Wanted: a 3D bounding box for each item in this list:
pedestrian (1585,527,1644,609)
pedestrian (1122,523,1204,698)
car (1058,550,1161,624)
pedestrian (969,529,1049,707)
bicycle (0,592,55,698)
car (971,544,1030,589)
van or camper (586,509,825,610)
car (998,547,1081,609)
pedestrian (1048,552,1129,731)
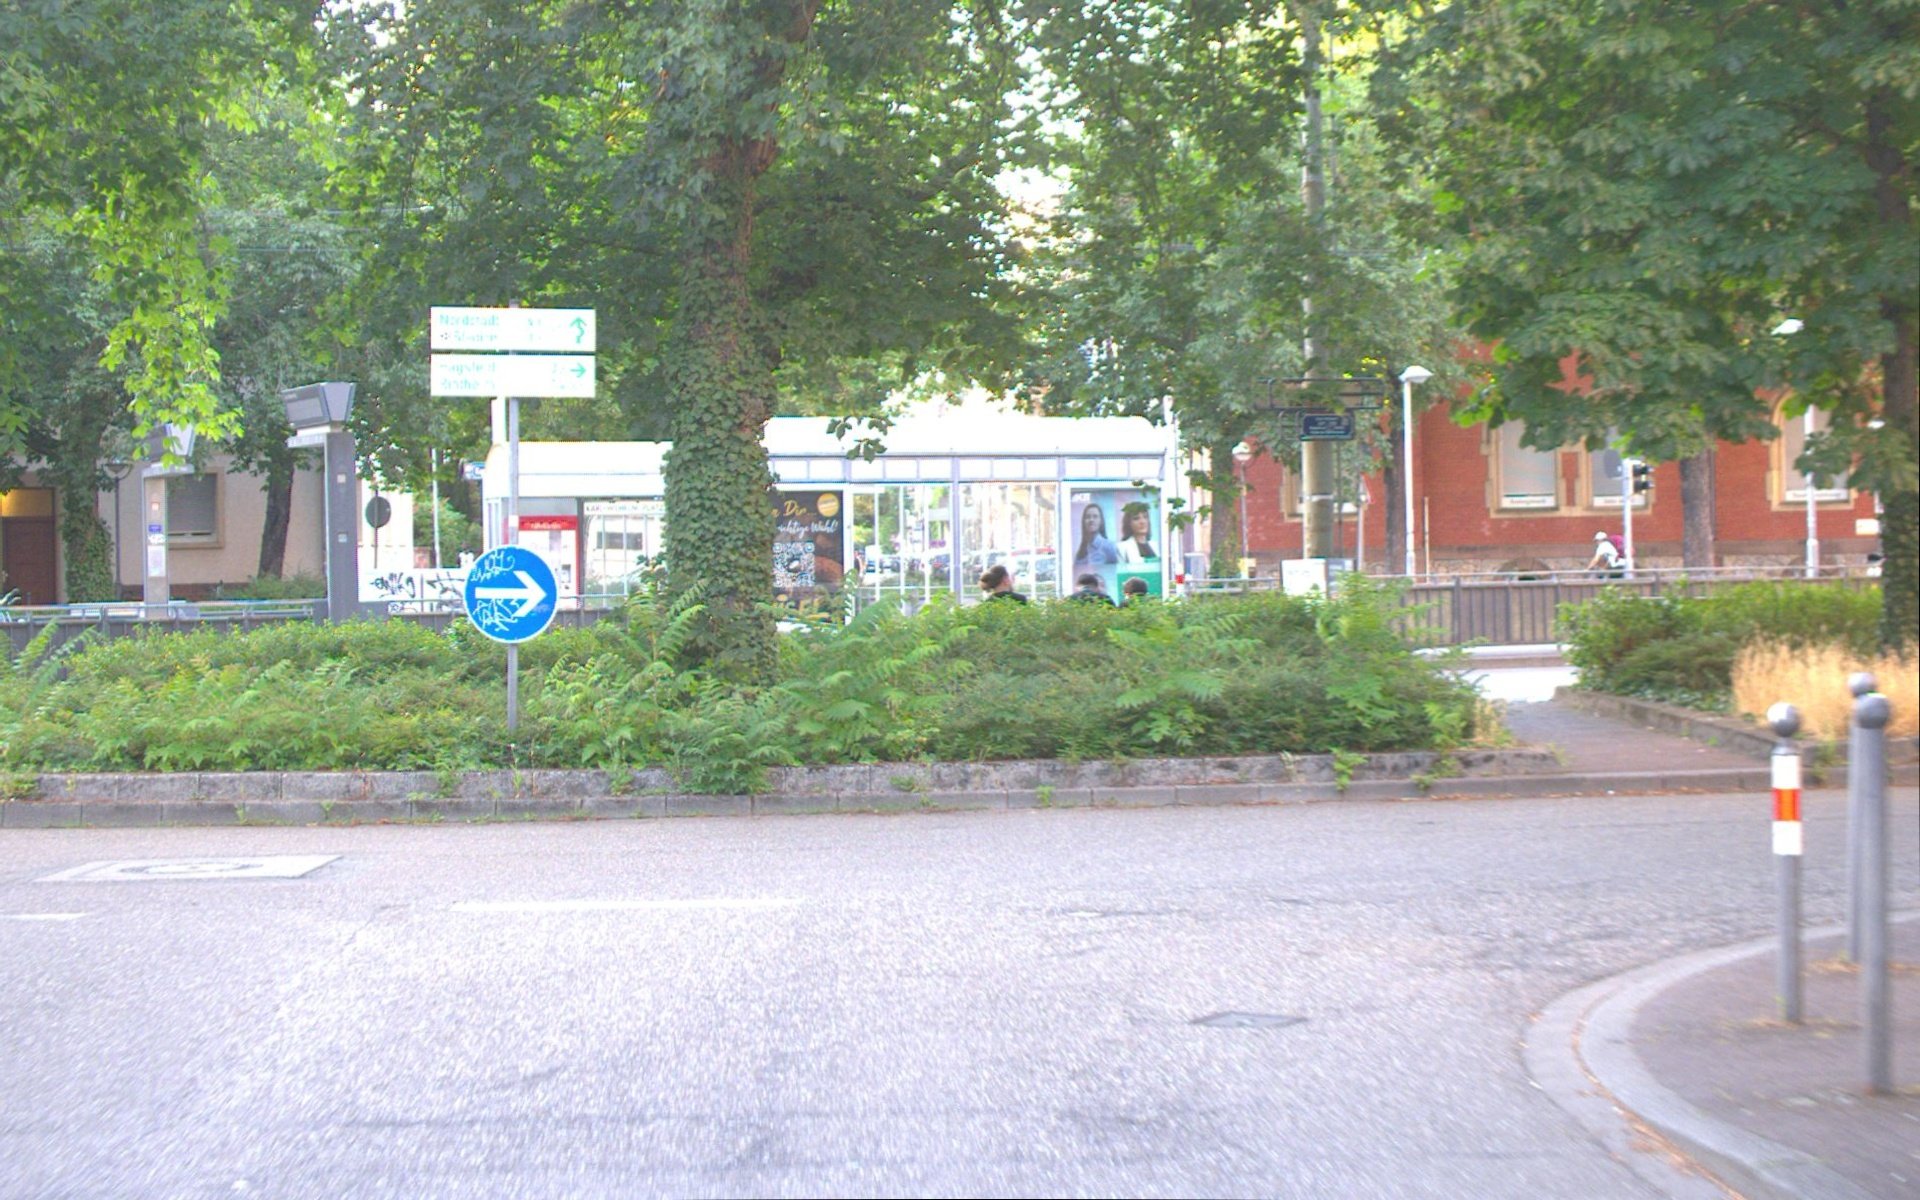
[{"bbox_3d":[12.405,-0.607,65.144,0.866,1.521,0.714,0,1,37],"label":"pedestrian"},{"bbox_3d":[1.681,0.078,28.572,0.616,1.426,0.655,-1,1,-1],"label":"pedestrian"},{"bbox_3d":[3.508,-0.330,81.440,1.993,1.698,4.720,0,1,-3],"label":"car"},{"bbox_3d":[0.392,0.139,27.952,0.616,1.426,0.655,-1,1,-1],"label":"pedestrian"},{"bbox_3d":[-10.056,0.464,34.423,1.849,1.048,0.546,-1,1,-23],"label":"bicycle"},{"bbox_3d":[1.541,-1.298,133.340,1.993,1.698,4.720,0,1,-3],"label":"car"},{"bbox_3d":[-8.005,-1.265,107.867,7.364,3.072,2.674,0,0,-6],"label":"van or camper"},{"bbox_3d":[2.233,-0.640,97.742,1.993,1.698,4.720,0,1,-3],"label":"car"},{"bbox_3d":[1.046,0.330,28.063,0.616,1.426,0.655,-1,1,-1],"label":"pedestrian"}]
